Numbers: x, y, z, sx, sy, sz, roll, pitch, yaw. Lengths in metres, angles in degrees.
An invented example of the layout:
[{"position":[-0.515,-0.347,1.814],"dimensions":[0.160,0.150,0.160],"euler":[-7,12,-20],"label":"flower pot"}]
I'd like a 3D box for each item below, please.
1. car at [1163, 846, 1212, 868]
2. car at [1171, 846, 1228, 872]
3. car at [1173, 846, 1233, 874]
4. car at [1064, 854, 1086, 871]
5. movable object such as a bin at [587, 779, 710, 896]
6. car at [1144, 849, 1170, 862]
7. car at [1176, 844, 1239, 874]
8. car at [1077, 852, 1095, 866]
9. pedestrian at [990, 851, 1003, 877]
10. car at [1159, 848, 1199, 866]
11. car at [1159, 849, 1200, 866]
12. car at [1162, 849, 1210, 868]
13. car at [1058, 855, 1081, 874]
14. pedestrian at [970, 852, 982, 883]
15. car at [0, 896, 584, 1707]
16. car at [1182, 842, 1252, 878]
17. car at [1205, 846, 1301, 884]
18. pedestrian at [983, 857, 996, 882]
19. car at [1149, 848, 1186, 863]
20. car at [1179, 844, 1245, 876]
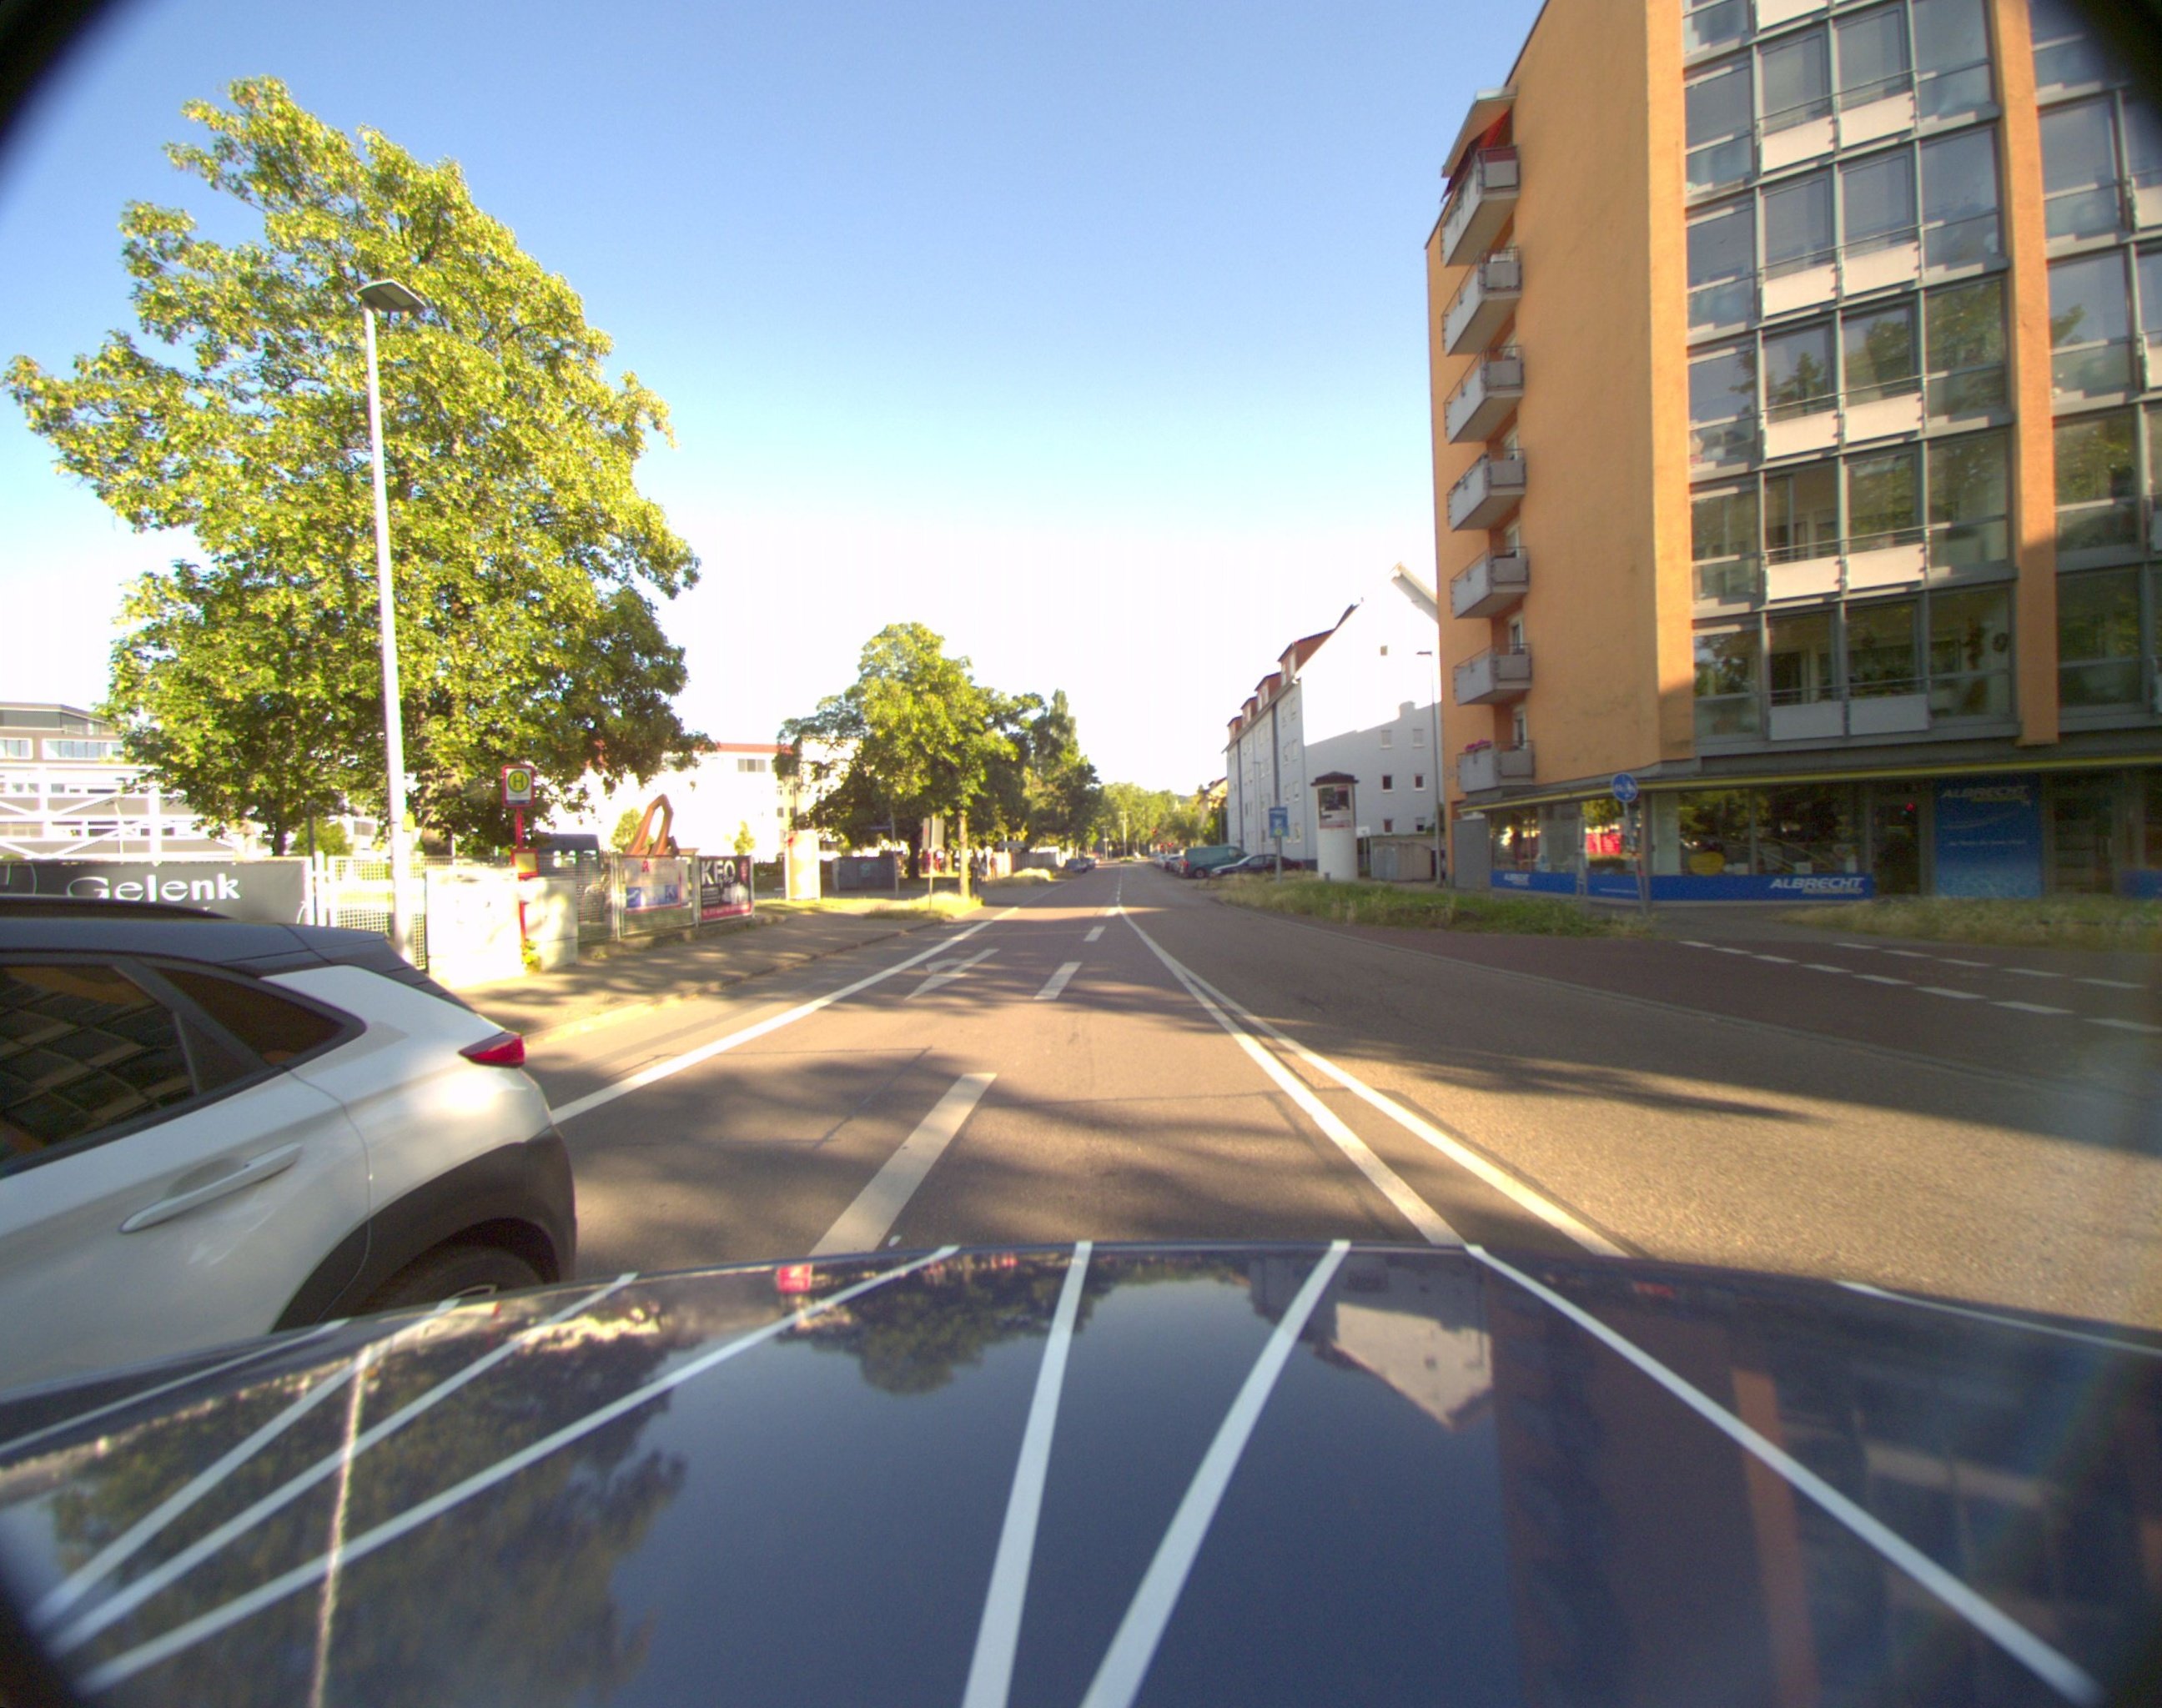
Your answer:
[{"position":[9.327,0.279,66.797],"dimensions":[4.117,1.762,1.757],"euler":[-2,1,6],"label":"car"},{"position":[8.793,0.377,56.747],"dimensions":[4.071,1.742,1.899],"euler":[-2,1,6],"label":"car"},{"position":[8.615,0.394,54.004],"dimensions":[4.059,1.805,1.937],"euler":[-2,1,6],"label":"car"},{"position":[-0.527,0.829,74.262],"dimensions":[1.998,1.521,3.999],"euler":[-2,1,1],"label":"car"},{"position":[-22.201,-0.791,38.878],"dimensions":[3.986,5.447,6.016],"euler":[-4,2,-42],"label":"movable object such as a bin"},{"position":[10.546,0.209,105.548],"dimensions":[3.538,1.564,1.866],"euler":[-2,1,6],"label":"car"},{"position":[8.542,0.324,51.653],"dimensions":[3.995,1.805,2.000],"euler":[-2,1,6],"label":"car"},{"position":[0.637,0.566,88.292],"dimensions":[1.998,1.521,3.999],"euler":[-2,1,1],"label":"car"},{"position":[-5.676,0.659,50.922],"dimensions":[0.695,1.659,0.639],"euler":[-2,1,4],"label":"pedestrian"},{"position":[10.322,0.335,80.374],"dimensions":[4.071,1.742,1.899],"euler":[-2,1,6],"label":"car"},{"position":[10.370,0.367,80.239],"dimensions":[4.257,1.564,1.866],"euler":[-2,1,6],"label":"car"},{"position":[9.623,0.431,69.683],"dimensions":[4.257,1.564,1.866],"euler":[-2,1,6],"label":"car"},{"position":[-1.032,0.917,69.915],"dimensions":[1.998,1.521,3.999],"euler":[-2,1,1],"label":"car"},{"position":[-6.130,0.784,44.436],"dimensions":[0.609,1.727,0.638],"euler":[-3,1,-5],"label":"pedestrian"},{"position":[-2.502,0.910,0.256],"dimensions":[1.894,1.587,3.967],"euler":[-3,-1,3],"label":"car"},{"position":[8.232,0.354,46.249],"dimensions":[3.996,1.936,2.000],"euler":[-2,1,4],"label":"car"},{"position":[8.330,0.529,37.186],"dimensions":[4.423,1.652,2.001],"euler":[-2,1,9],"label":"car"},{"position":[-5.304,0.908,44.186],"dimensions":[0.609,1.426,0.639],"euler":[-2,1,1],"label":"pedestrian"},{"position":[10.292,0.214,90.497],"dimensions":[4.257,1.564,1.866],"euler":[-2,1,6],"label":"car"},{"position":[8.396,0.372,48.897],"dimensions":[3.995,1.805,2.000],"euler":[-2,1,6],"label":"car"}]
